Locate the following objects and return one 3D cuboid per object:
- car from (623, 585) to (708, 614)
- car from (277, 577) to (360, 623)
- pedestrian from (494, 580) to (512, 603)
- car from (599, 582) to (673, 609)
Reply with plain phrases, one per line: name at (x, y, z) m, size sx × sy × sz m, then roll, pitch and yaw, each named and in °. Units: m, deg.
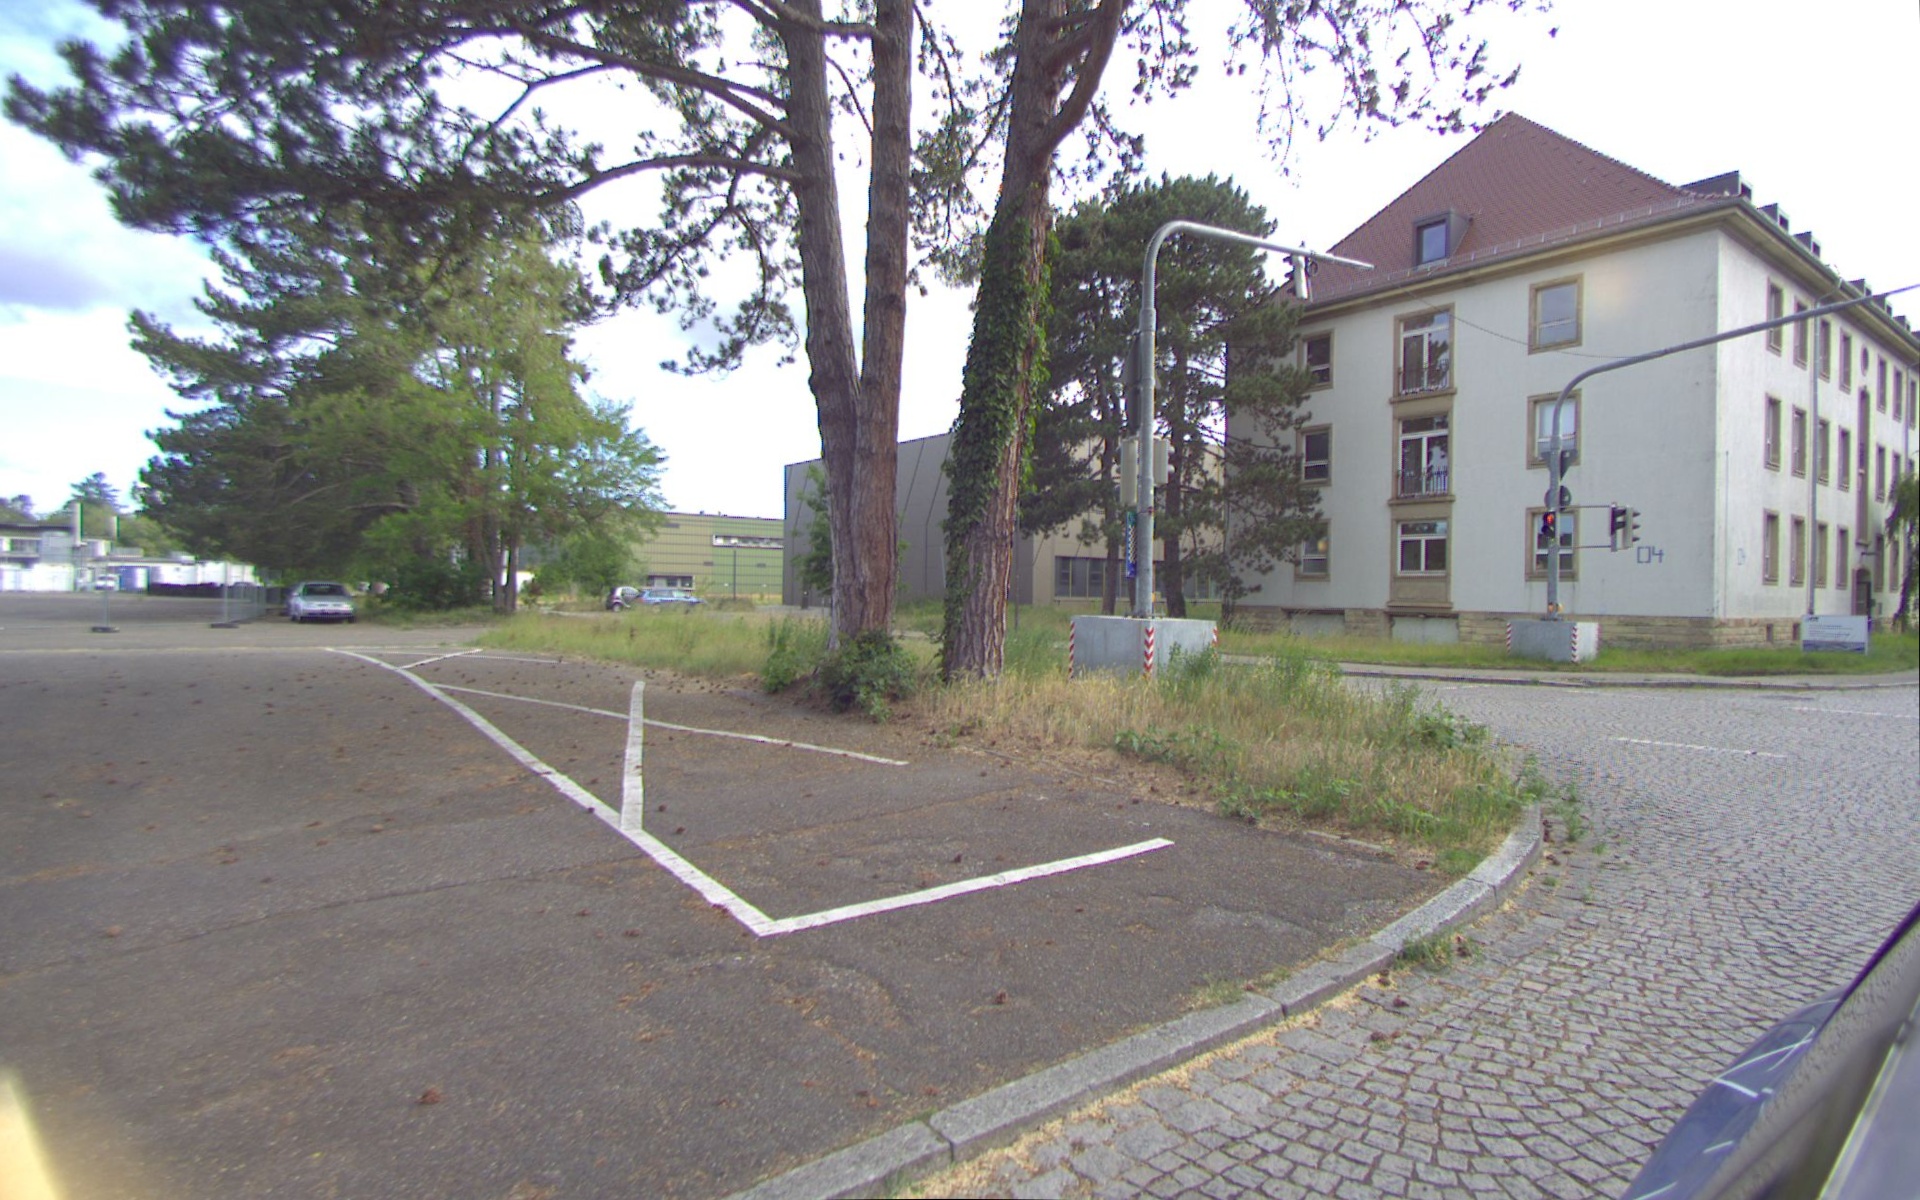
car at (-17.024, -0.084, 58.563) m, size 4.340 × 1.481 × 1.836 m, roll -3°, pitch 3°, yaw -40°
car at (-22.659, -0.028, 35.694) m, size 1.832 × 1.493 × 4.144 m, roll 1°, pitch 1°, yaw -41°
pedestrian at (-33.769, -0.630, 74.757) m, size 0.861 × 1.745 × 1.004 m, roll 1°, pitch 0°, yaw -45°
car at (-20.806, -0.321, 65.028) m, size 4.122 × 1.606 × 1.836 m, roll -3°, pitch 3°, yaw -40°
